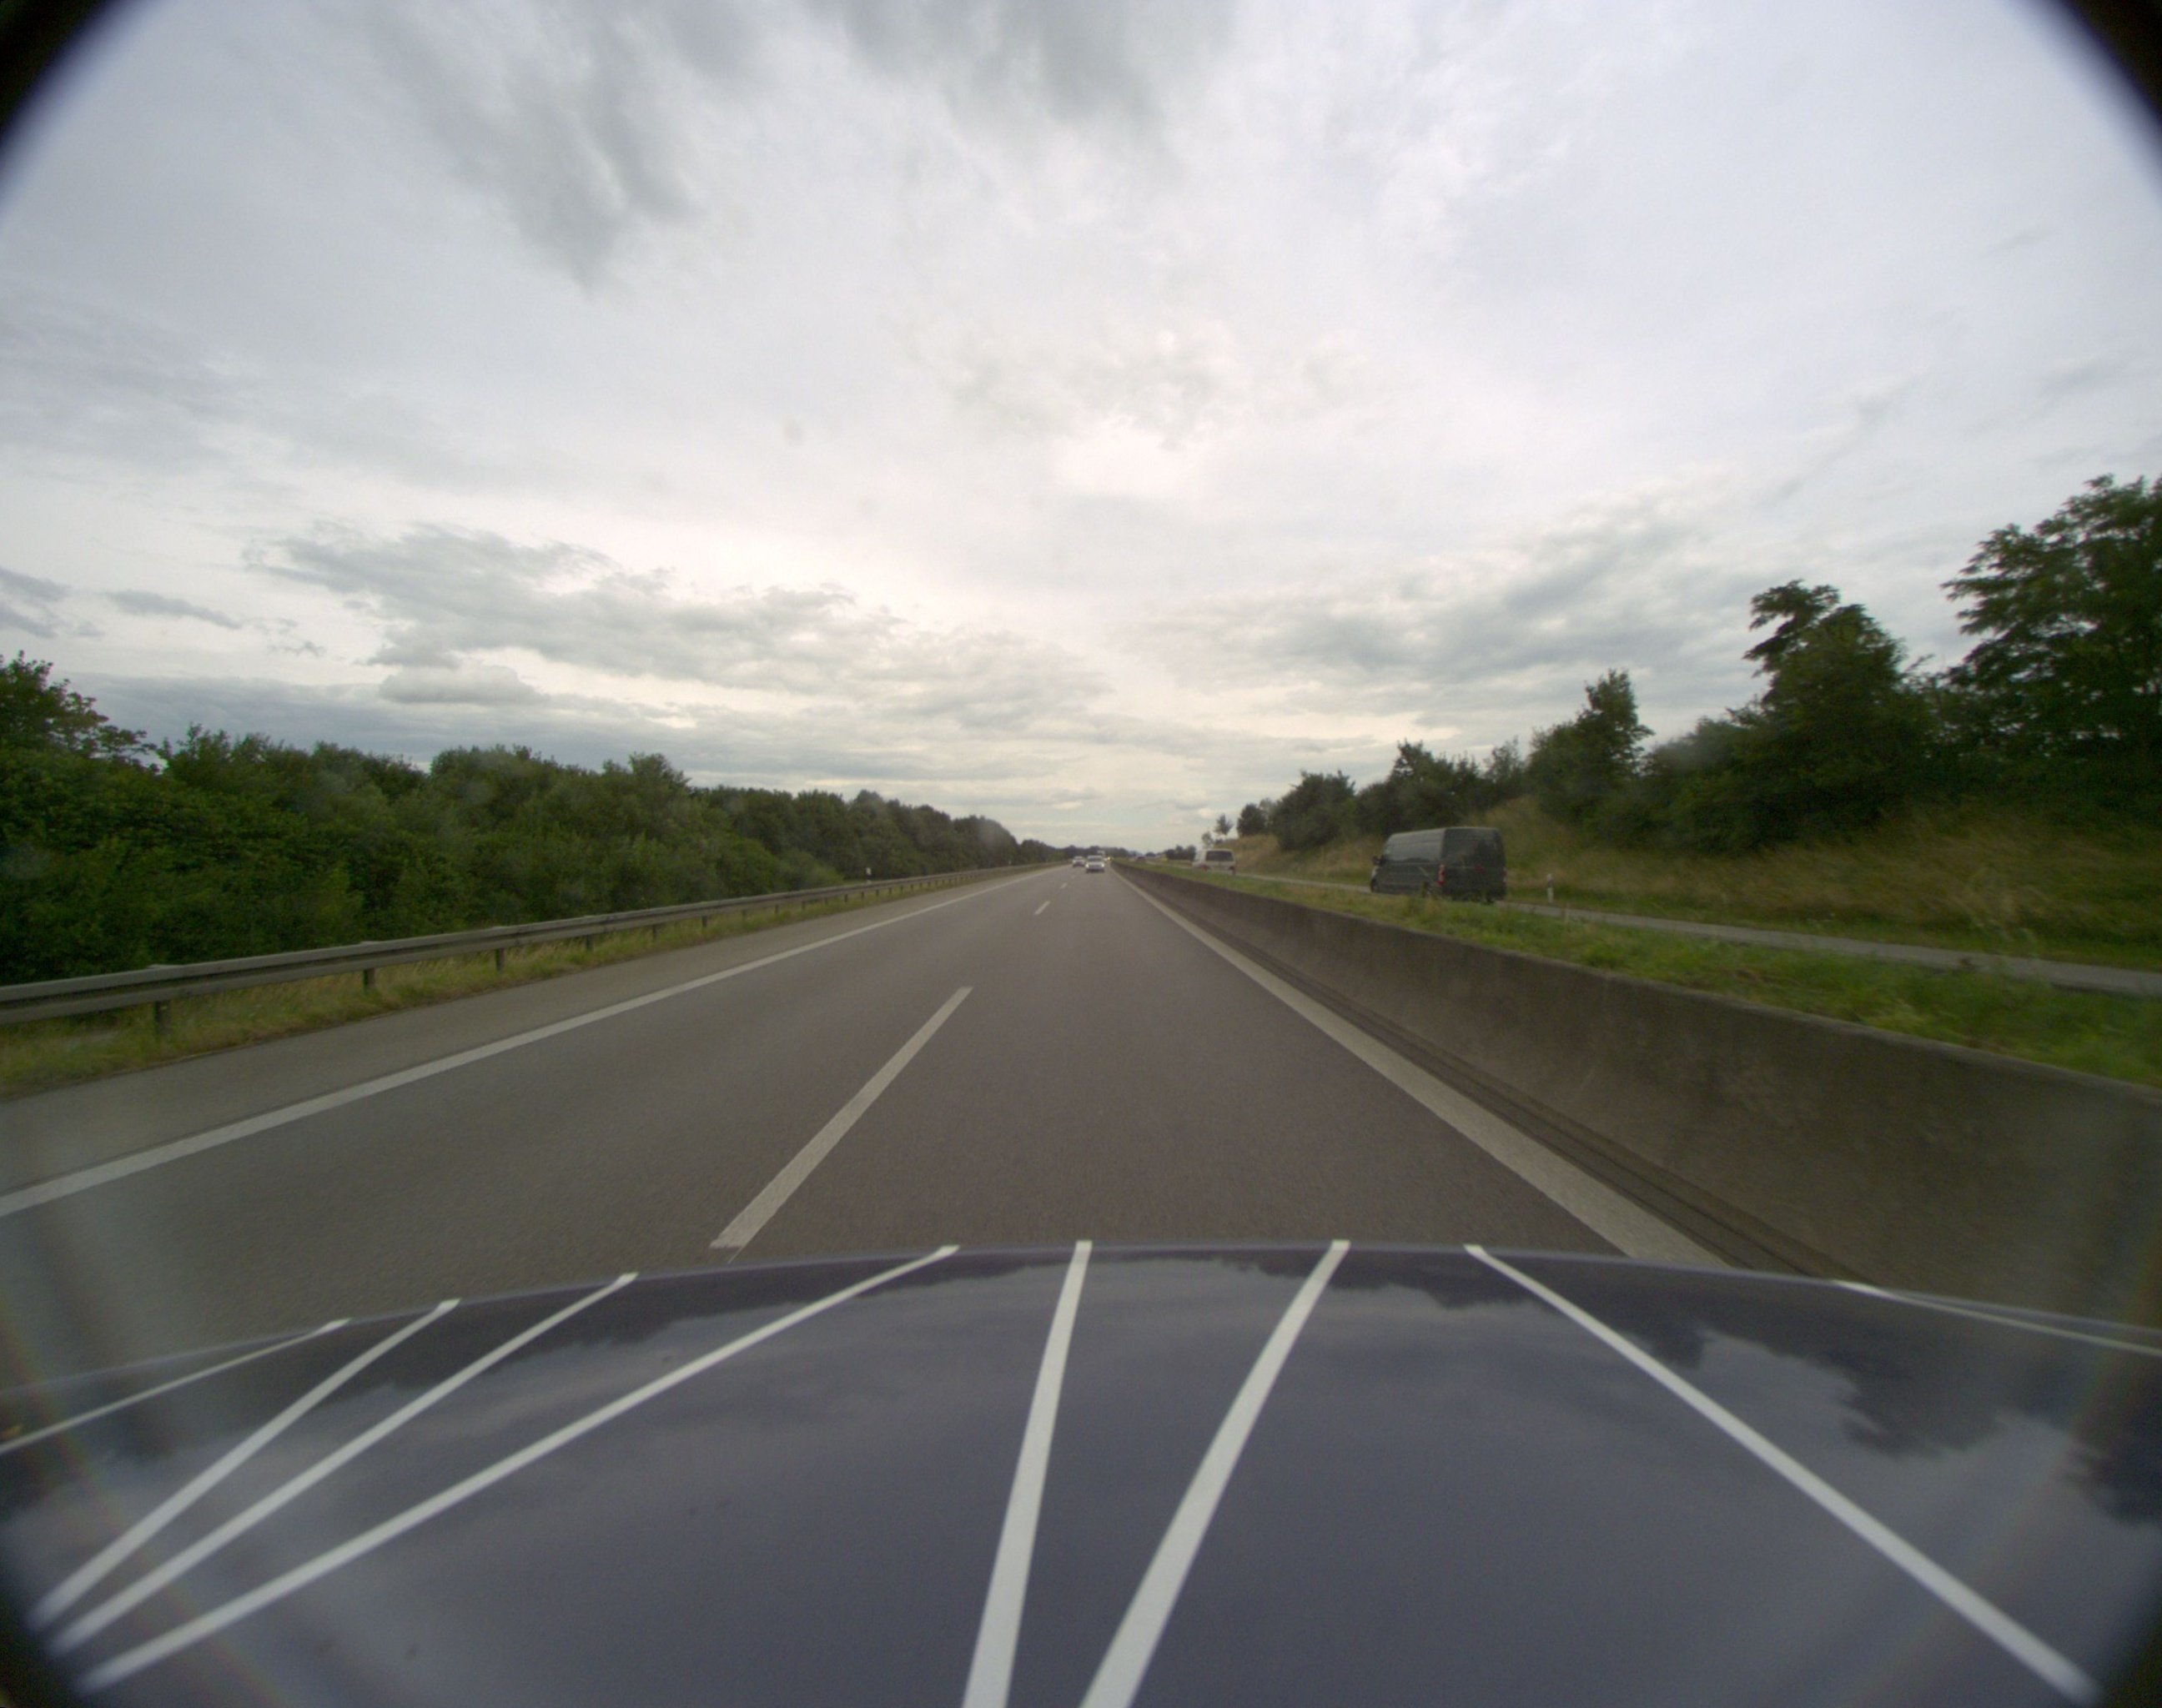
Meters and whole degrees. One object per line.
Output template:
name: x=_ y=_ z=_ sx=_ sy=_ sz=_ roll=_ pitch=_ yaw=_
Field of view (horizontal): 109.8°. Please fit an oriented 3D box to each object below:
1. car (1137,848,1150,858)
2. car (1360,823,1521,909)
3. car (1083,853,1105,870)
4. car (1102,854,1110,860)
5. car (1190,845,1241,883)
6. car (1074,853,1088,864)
car: x=10.982 y=-0.150 z=133.622 sx=1.924 sy=1.684 sz=4.597 roll=0 pitch=0 yaw=1
car: x=11.601 y=0.334 z=25.274 sx=2.175 sy=2.450 sz=6.722 roll=1 pitch=0 yaw=1
car: x=1.253 y=0.724 z=74.117 sx=1.916 sy=1.553 sz=4.287 roll=-1 pitch=0 yaw=-1
car: x=6.556 y=0.764 z=199.827 sx=1.915 sy=1.553 sz=4.289 roll=-1 pitch=0 yaw=4
car: x=7.611 y=0.564 z=43.575 sx=1.984 sy=2.002 sz=5.130 roll=-1 pitch=0 yaw=0
car: x=0.058 y=0.702 z=119.445 sx=1.915 sy=1.553 sz=4.289 roll=-1 pitch=0 yaw=4
